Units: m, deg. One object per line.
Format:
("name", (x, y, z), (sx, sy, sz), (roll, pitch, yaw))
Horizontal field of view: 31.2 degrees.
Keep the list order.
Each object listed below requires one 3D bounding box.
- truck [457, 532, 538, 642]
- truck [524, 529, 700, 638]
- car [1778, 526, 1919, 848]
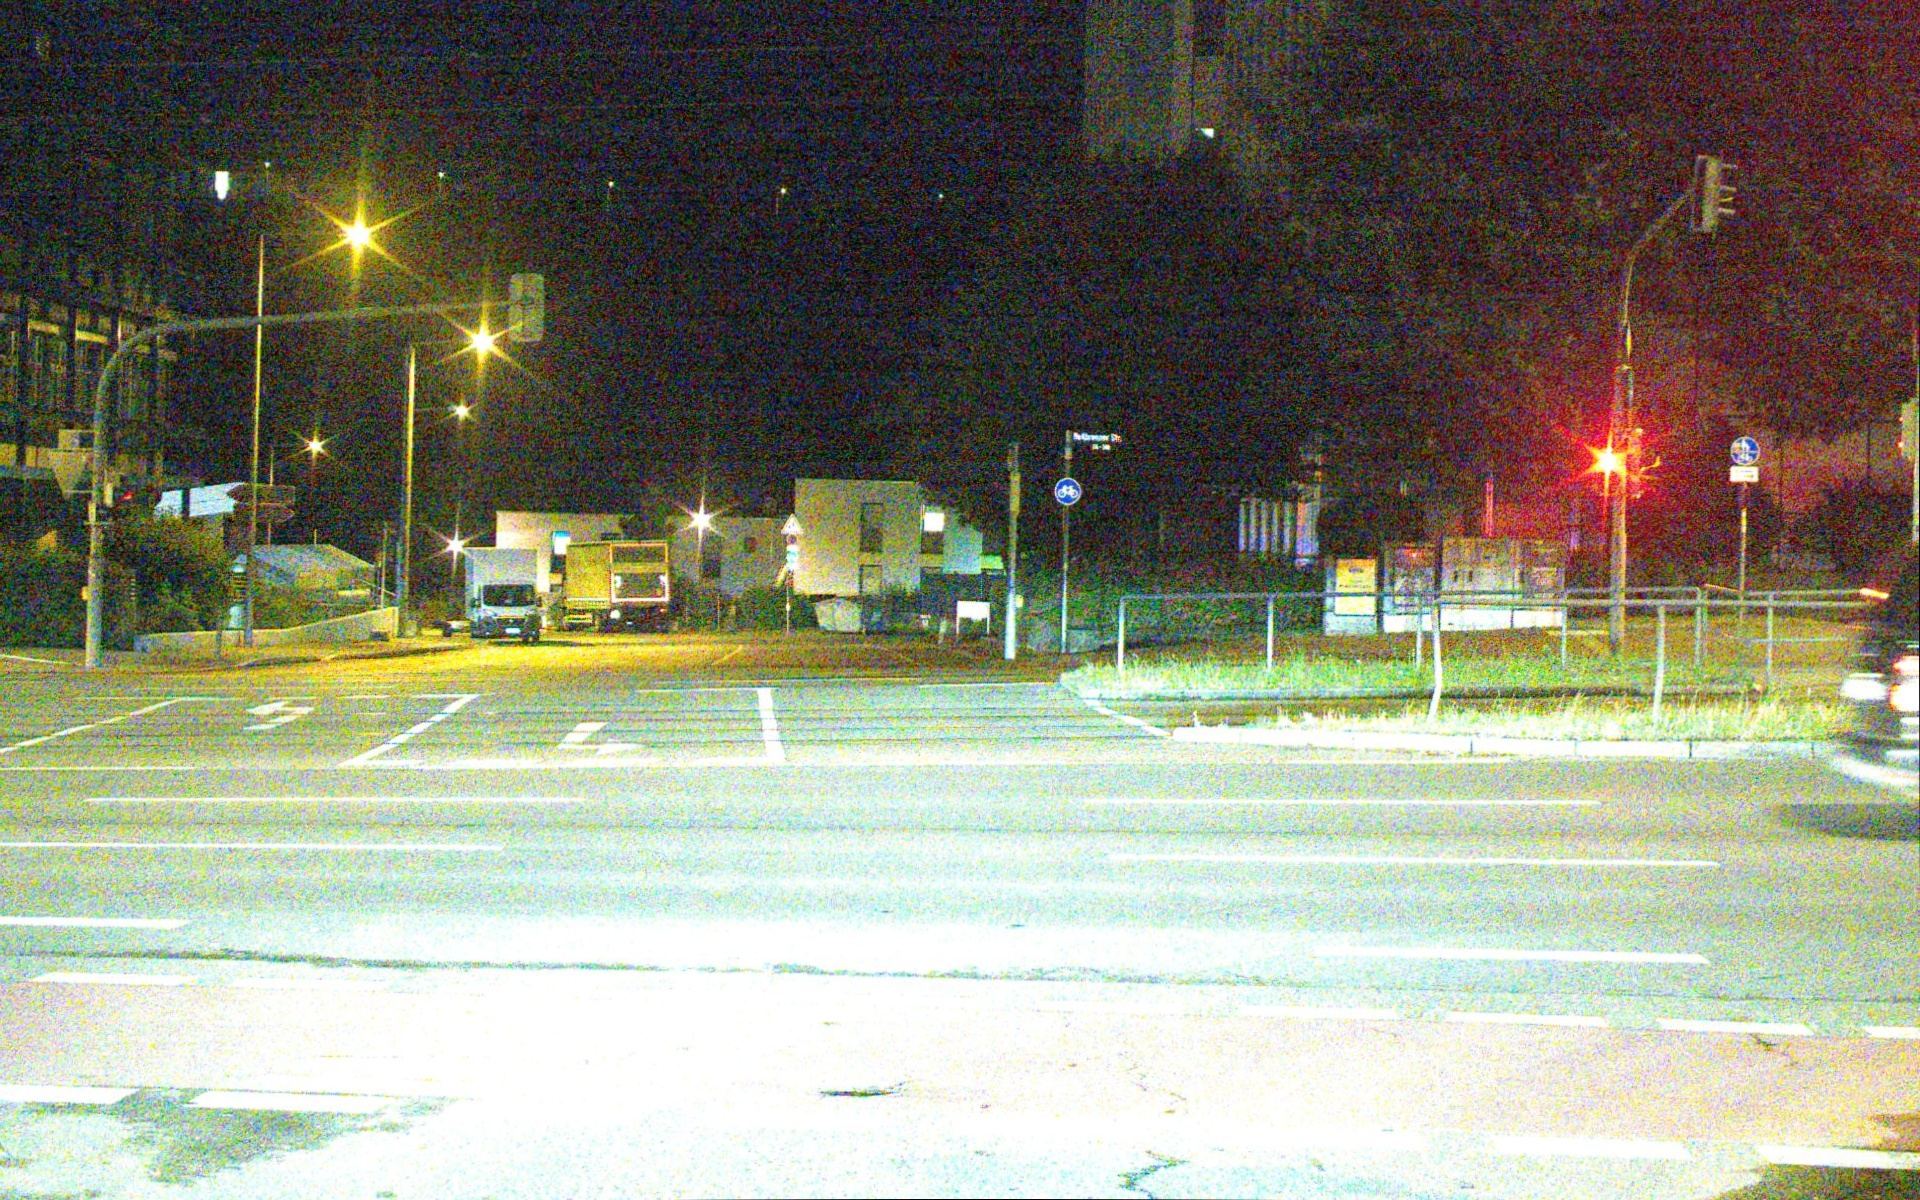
("truck", (-16.056, -0.474, 119.111), (2.582, 3.694, 5.739), (1, 1, -9))
("truck", (-15.447, -0.766, 151.236), (4.821, 4.531, 12.669), (1, 1, -19))
("car", (6.801, 0.453, 18.566), (4.343, 1.645, 1.810), (1, 2, 3))
